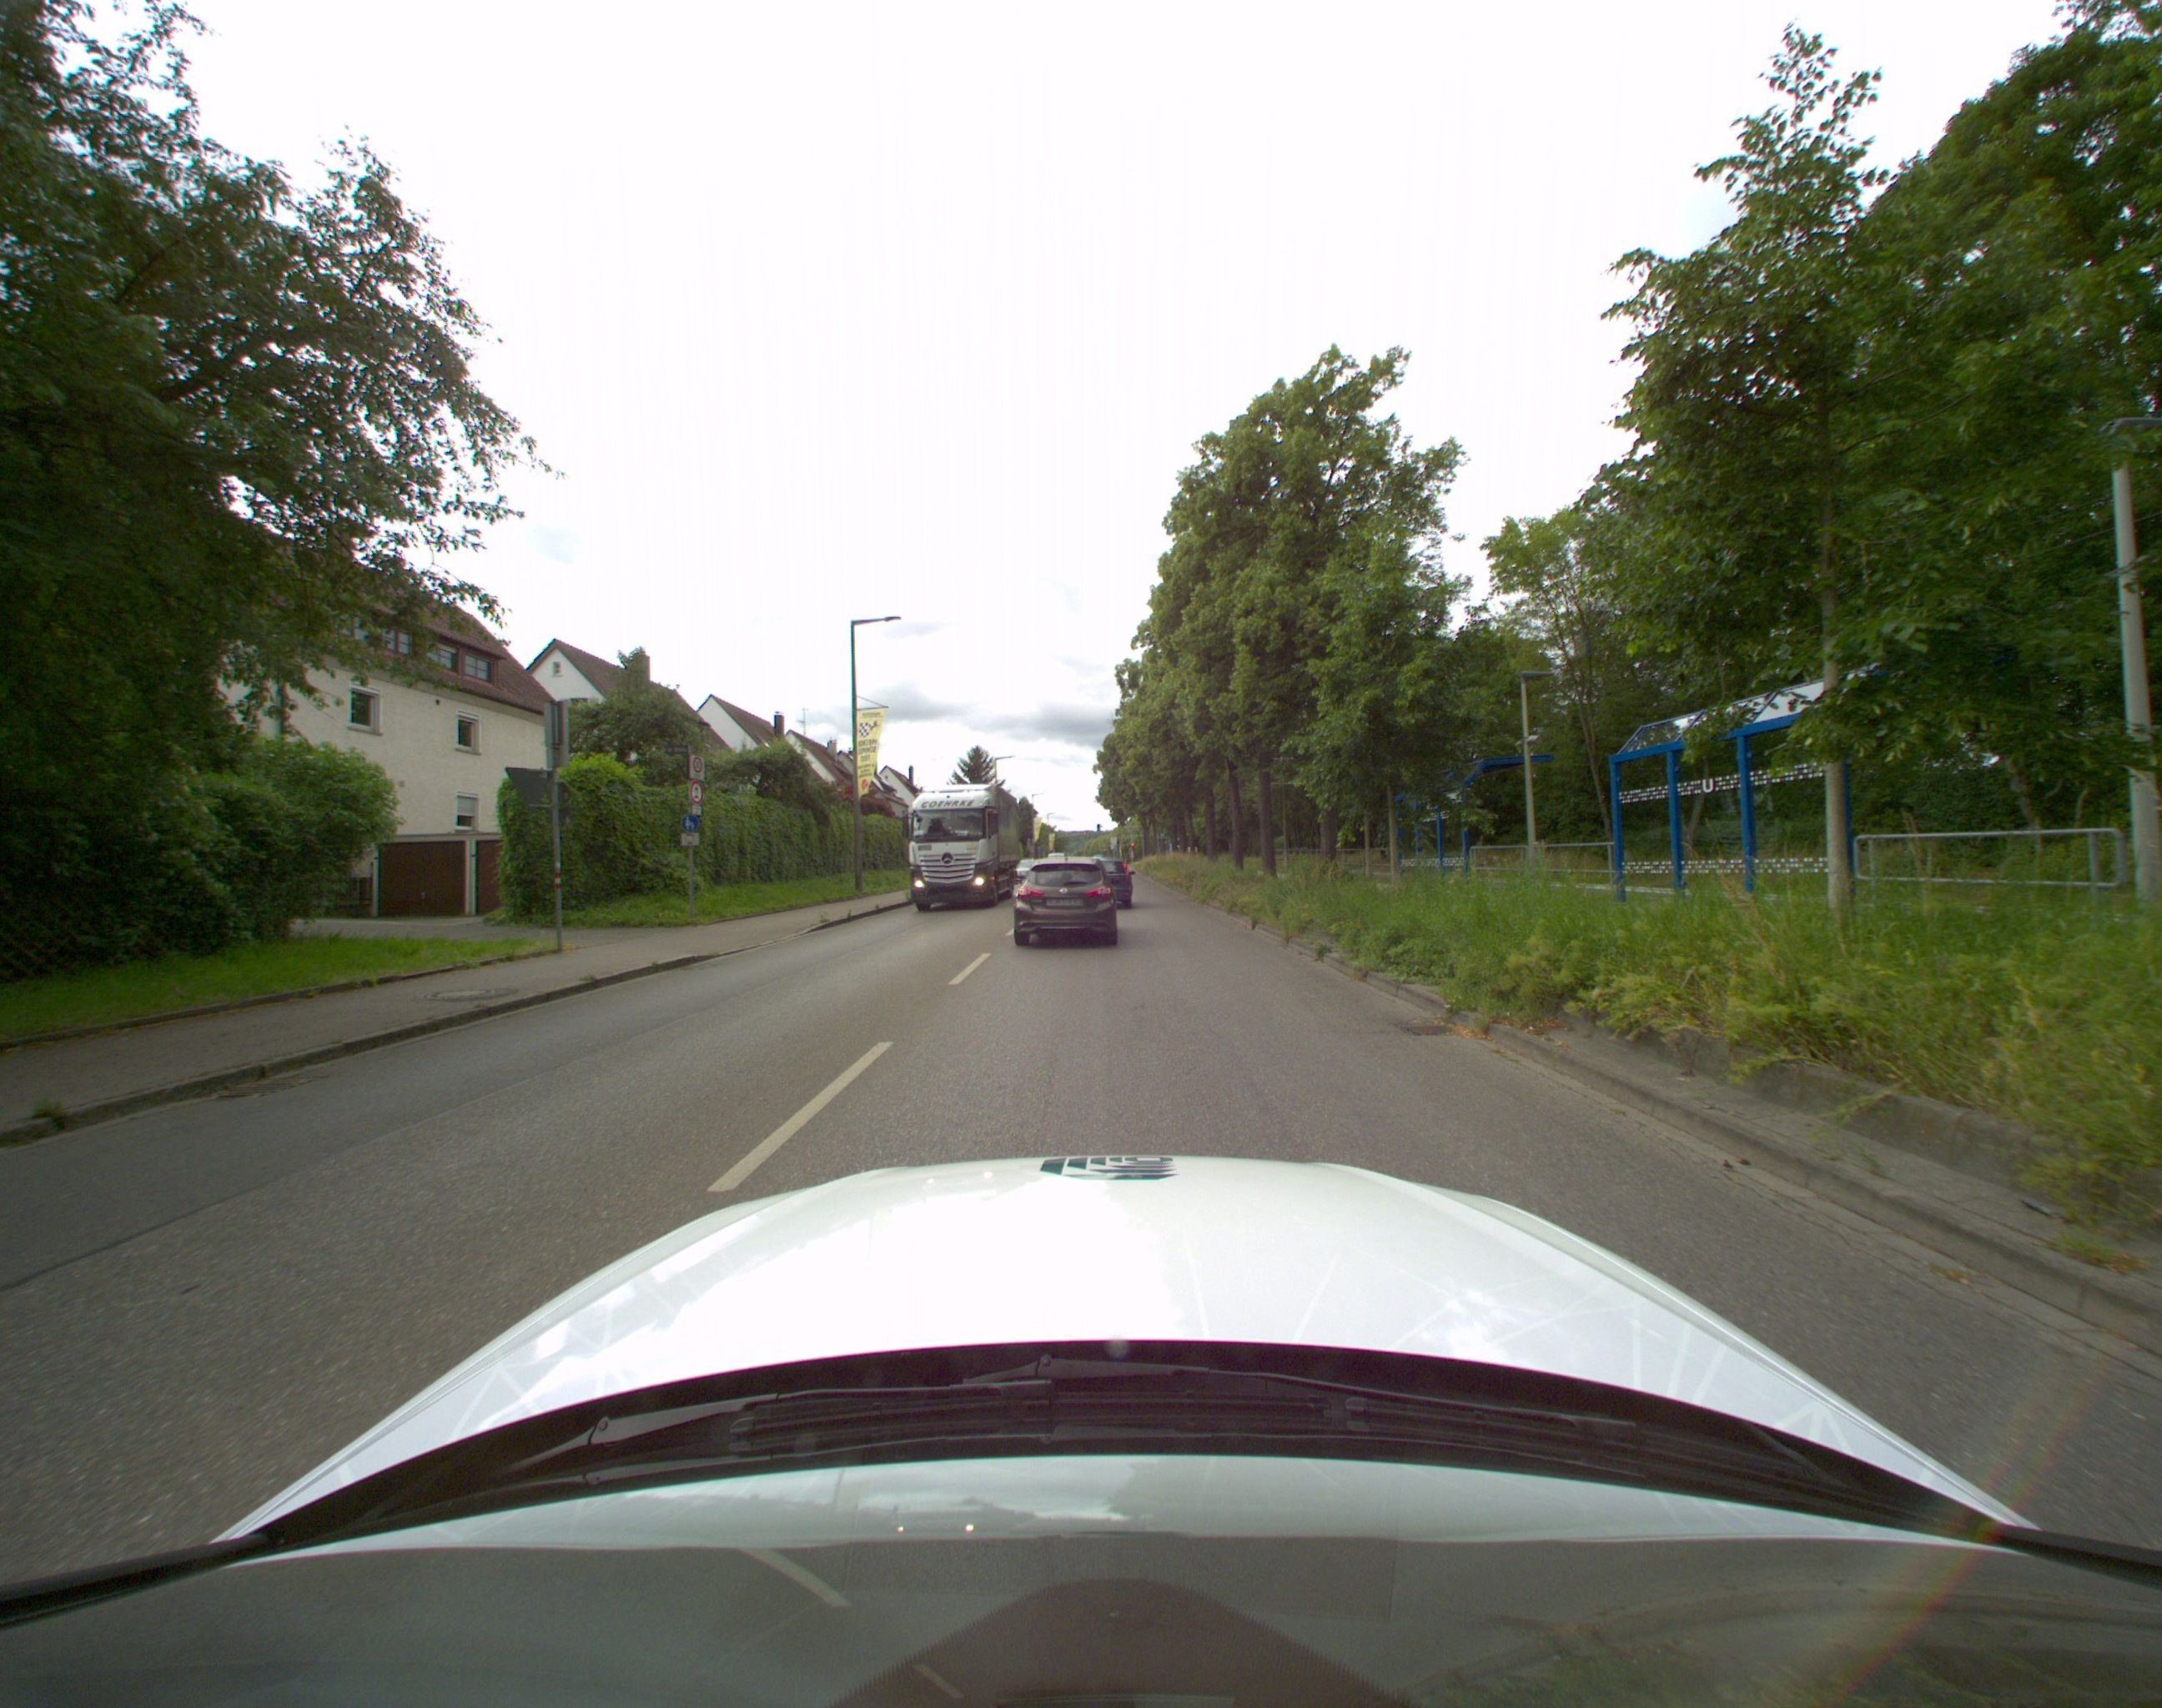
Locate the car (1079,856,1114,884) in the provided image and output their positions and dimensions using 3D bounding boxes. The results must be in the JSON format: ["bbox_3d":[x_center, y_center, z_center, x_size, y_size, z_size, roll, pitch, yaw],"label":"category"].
[{"bbox_3d":[0.854,0.812,44.058,1.785,1.397,4.001,-1,0,1],"label":"car"}]

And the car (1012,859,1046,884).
[{"bbox_3d":[-3.248,1.069,51.499,1.727,1.375,4.240,-3,0,0],"label":"car"}]

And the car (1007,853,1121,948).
[{"bbox_3d":[-0.217,0.761,15.497,1.828,1.519,4.484,-1,0,1],"label":"car"}]

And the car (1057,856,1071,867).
[{"bbox_3d":[-2.222,1.015,106.018,1.645,1.348,4.478,-2,0,1],"label":"car"}]

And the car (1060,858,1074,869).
[{"bbox_3d":[-2.031,1.356,118.421,1.880,1.383,4.489,-2,0,0],"label":"car"}]

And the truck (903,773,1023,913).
[{"bbox_3d":[-3.888,-0.269,29.622,2.541,4.044,10.619,-3,-1,0],"label":"truck"}]

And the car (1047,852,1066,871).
[{"bbox_3d":[-2.667,0.763,89.110,1.901,1.932,4.909,-2,0,-1],"label":"car"}]

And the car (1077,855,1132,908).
[{"bbox_3d":[0.705,0.788,24.889,1.533,1.478,3.765,-1,0,1],"label":"car"}]
